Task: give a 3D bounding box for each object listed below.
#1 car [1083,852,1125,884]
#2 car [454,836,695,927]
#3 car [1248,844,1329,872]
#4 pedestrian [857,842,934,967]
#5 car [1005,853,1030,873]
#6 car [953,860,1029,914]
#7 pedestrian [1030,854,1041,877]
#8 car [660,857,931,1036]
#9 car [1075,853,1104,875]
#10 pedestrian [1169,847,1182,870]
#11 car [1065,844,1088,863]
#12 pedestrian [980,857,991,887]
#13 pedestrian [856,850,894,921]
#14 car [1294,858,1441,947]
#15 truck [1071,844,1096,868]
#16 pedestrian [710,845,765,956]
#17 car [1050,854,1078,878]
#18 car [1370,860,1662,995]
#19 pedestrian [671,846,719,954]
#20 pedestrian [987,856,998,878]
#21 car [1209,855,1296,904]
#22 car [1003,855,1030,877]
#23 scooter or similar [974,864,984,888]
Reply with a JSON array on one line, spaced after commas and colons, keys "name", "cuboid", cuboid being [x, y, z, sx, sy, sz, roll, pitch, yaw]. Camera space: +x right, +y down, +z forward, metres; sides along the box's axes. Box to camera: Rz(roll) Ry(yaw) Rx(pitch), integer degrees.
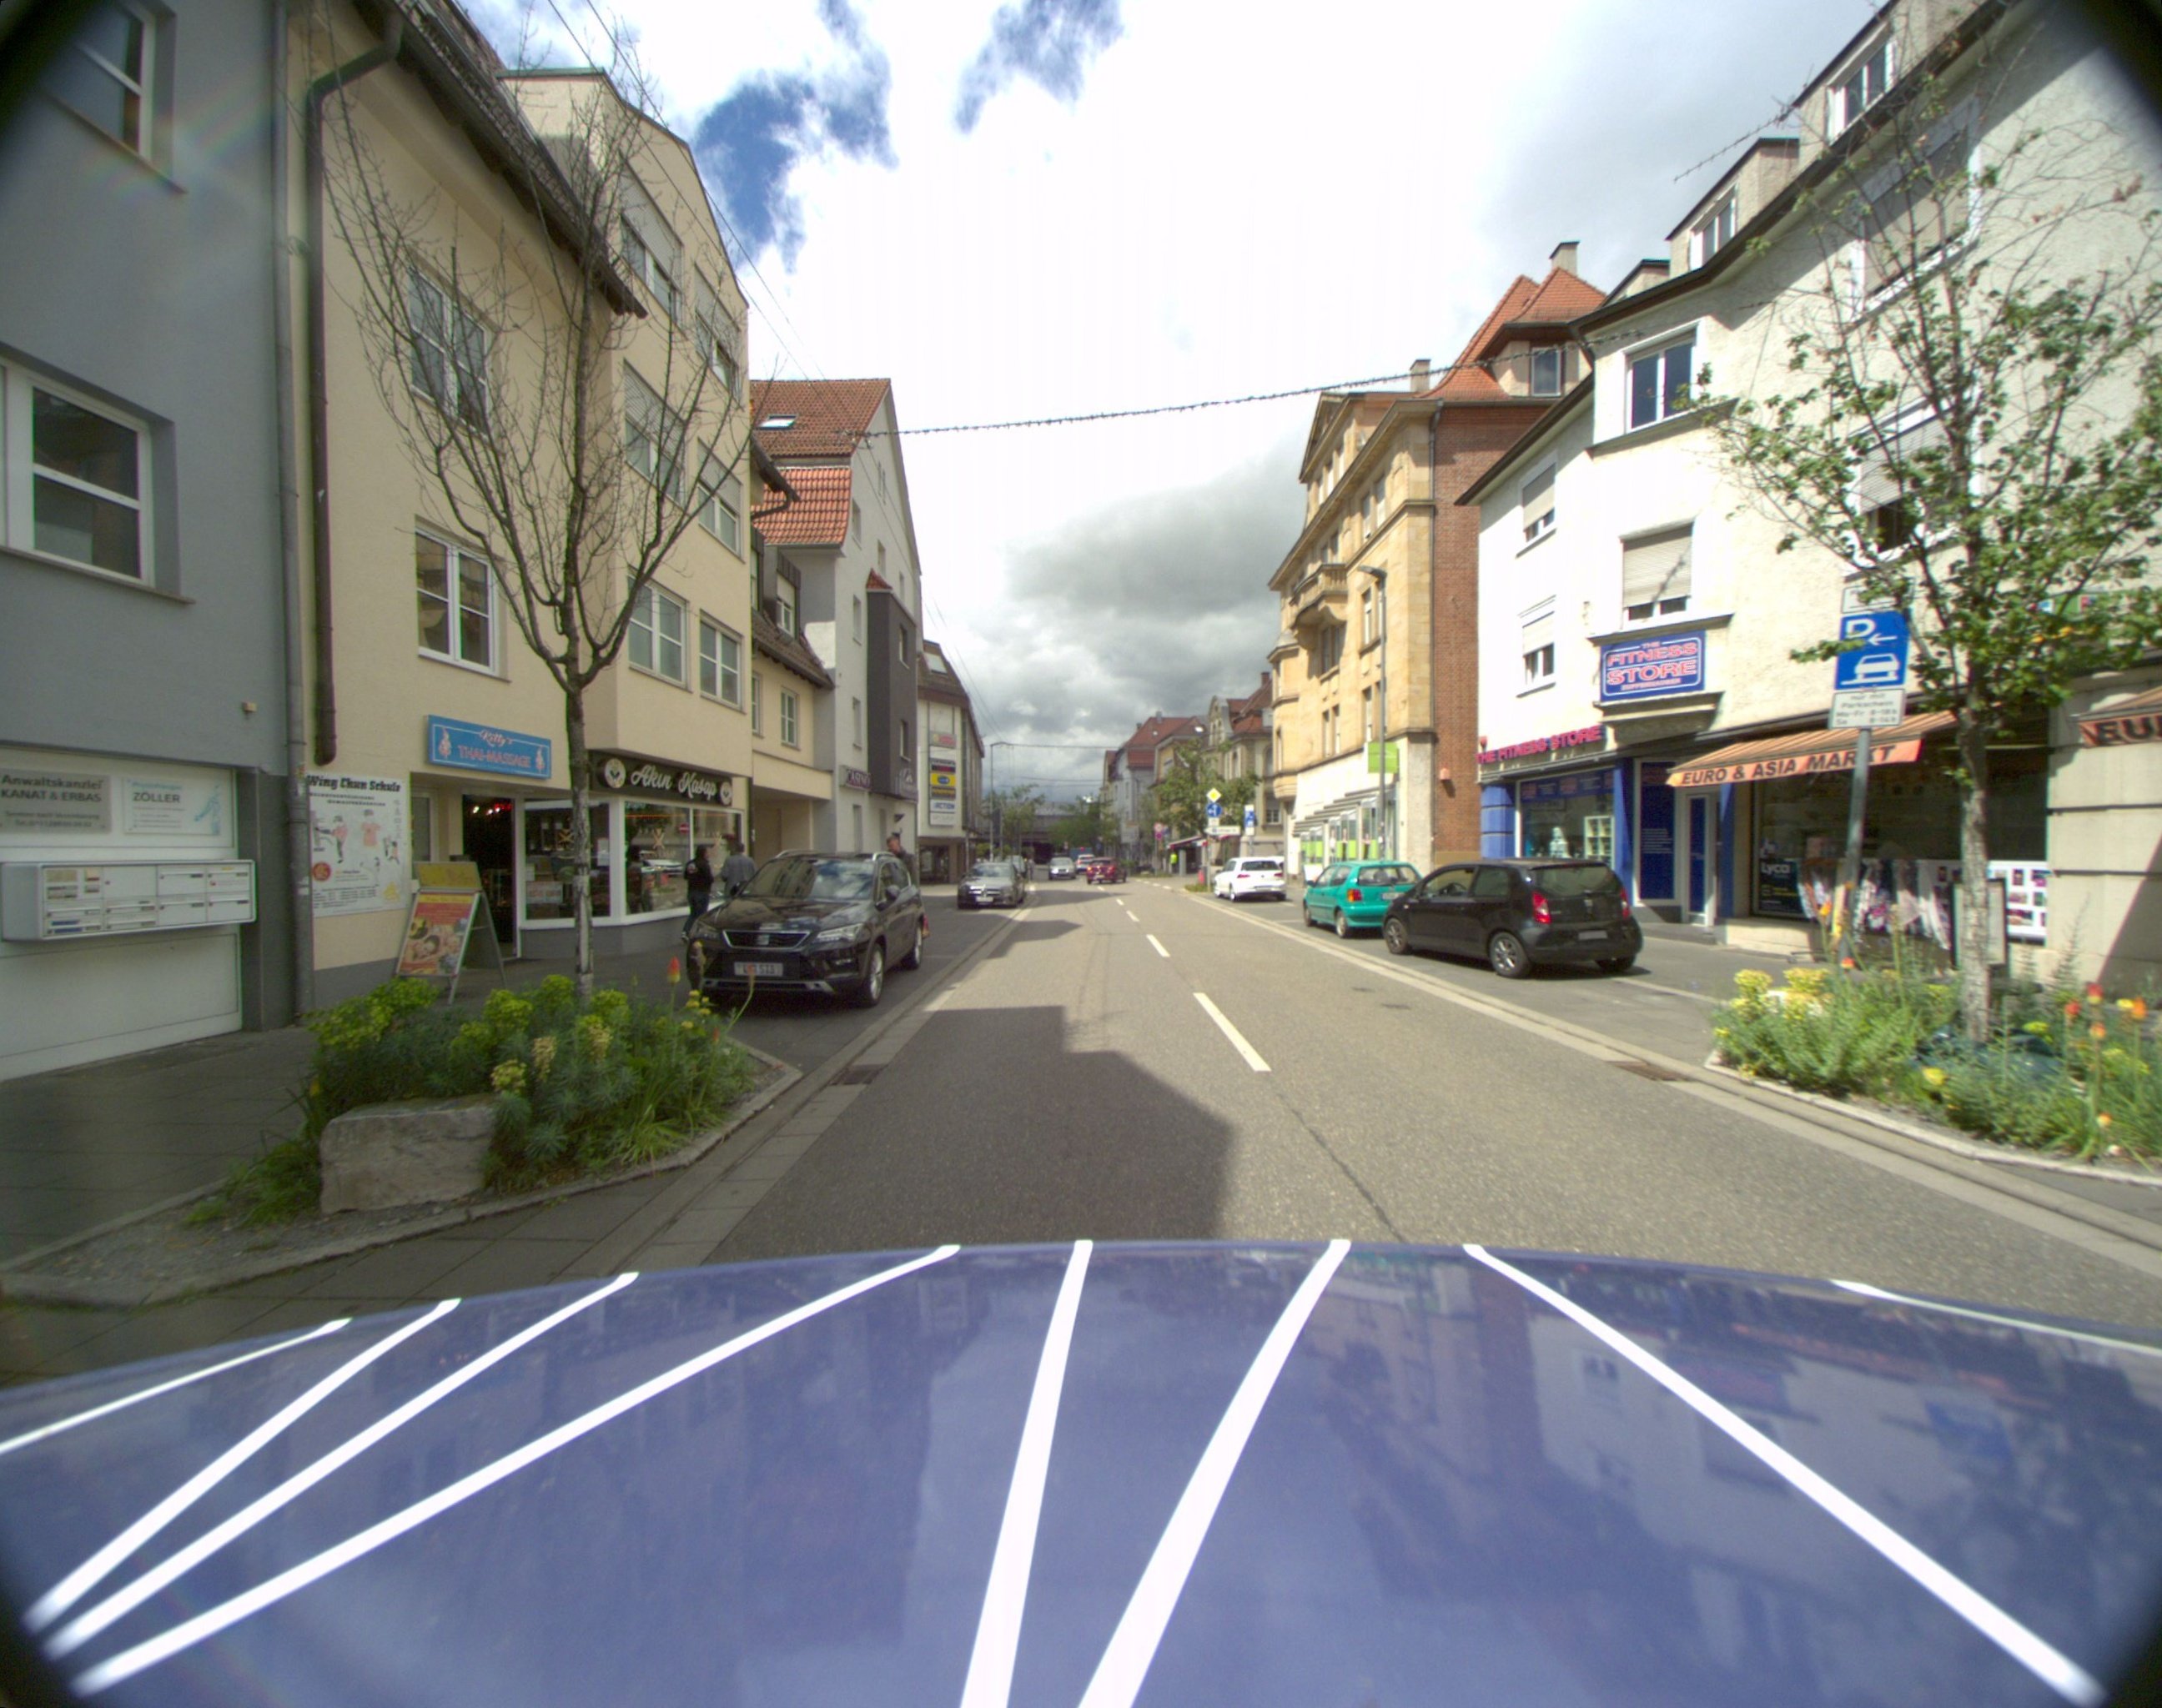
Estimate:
[{"name": "car", "cuboid": [1.320, 0.747, 42.167, 1.534, 1.521, 3.762, -2, 1, 14]}, {"name": "car", "cuboid": [-11.840, 0.612, 17.982, 4.358, 1.921, 1.954, 2, 0, 1]}, {"name": "car", "cuboid": [12.570, 0.222, 46.050, 4.391, 1.373, 1.996, -3, 1, -20]}, {"name": "pedestrian", "cuboid": [-2.861, 0.753, 11.830, 0.978, 1.853, 0.864, 1, 2, -1]}, {"name": "car", "cuboid": [-5.419, 0.731, 65.488, 1.825, 1.652, 4.465, 1, 0, -1]}, {"name": "car", "cuboid": [-2.796, 0.981, 24.584, 1.711, 1.412, 4.318, -2, 1, 3]}, {"name": "pedestrian", "cuboid": [-3.225, 0.837, 53.703, 0.584, 1.591, 0.549, -2, 2, 17]}, {"name": "car", "cuboid": [-3.025, 0.865, 9.073, 1.804, 1.594, 4.202, 1, 0, -3]}, {"name": "car", "cuboid": [0.715, 0.802, 62.253, 1.791, 1.630, 4.117, -2, 1, 8]}, {"name": "pedestrian", "cuboid": [7.434, 0.340, 59.716, 0.801, 1.746, 0.812, -2, 2, -8]}, {"name": "car", "cuboid": [-0.690, -0.147, 112.229, 2.310, 2.657, 7.263, -2, 1, -8]}, {"name": "pedestrian", "cuboid": [-5.416, 1.016, 43.136, 0.572, 1.693, 0.481, -2, 2, -7]}, {"name": "pedestrian", "cuboid": [-5.103, 0.768, 18.828, 0.745, 1.708, 0.655, -1, 2, -1]}, {"name": "car", "cuboid": [5.489, 0.851, 15.022, 1.589, 1.406, 3.668, -2, 1, 2]}, {"name": "truck", "cuboid": [0.196, 0.134, 77.553, 2.112, 2.292, 6.472, -2, 1, -3]}, {"name": "pedestrian", "cuboid": [-5.511, 0.726, 12.209, 0.537, 1.708, 0.606, -2, 2, -1]}, {"name": "car", "cuboid": [-1.108, 0.782, 50.923, 1.724, 1.517, 3.598, -1, 0, 0]}, {"name": "car", "cuboid": [5.689, 0.847, 10.479, 1.602, 1.437, 3.554, -2, 1, -9]}, {"name": "pedestrian", "cuboid": [-6.321, 0.740, 12.458, 0.437, 1.708, 0.537, -2, 2, -3]}, {"name": "pedestrian", "cuboid": [-6.255, 0.913, 53.507, 0.661, 1.553, 0.477, -2, 2, -3]}, {"name": "car", "cuboid": [5.765, 0.813, 25.971, 1.851, 1.390, 4.035, -2, 1, -3]}, {"name": "car", "cuboid": [-4.445, 0.800, 52.943, 1.720, 1.445, 4.550, -1, 0, -3]}, {"name": "scooter or similar", "cuboid": [-5.782, 1.223, 43.130, 0.432, 1.273, 1.248, -2, 1, -5]}]
